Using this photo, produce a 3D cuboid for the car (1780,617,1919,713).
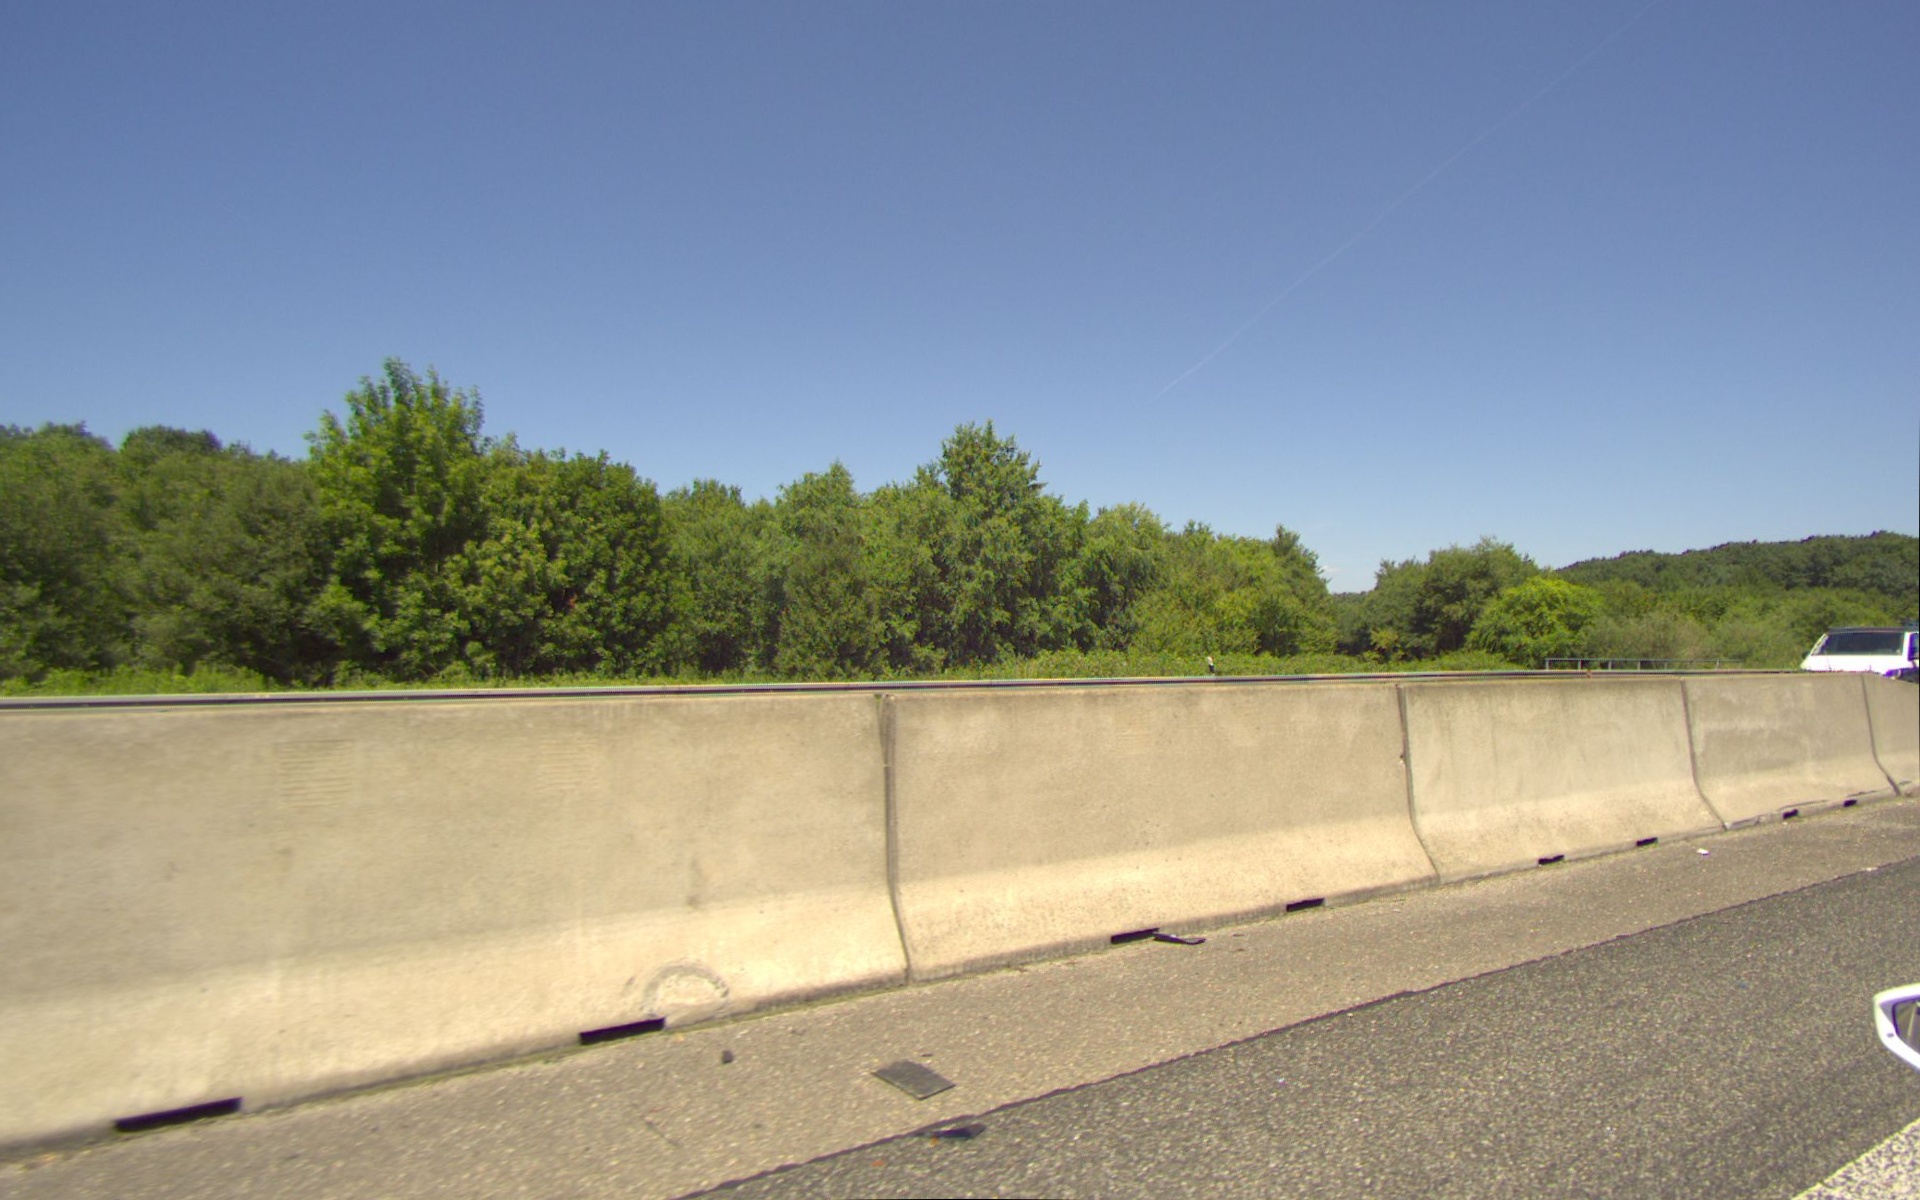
[{"bbox_3d":[21.920,1.491,23.651,6.150,2.040,1.984,1,-3,-30],"label":"car"}]
